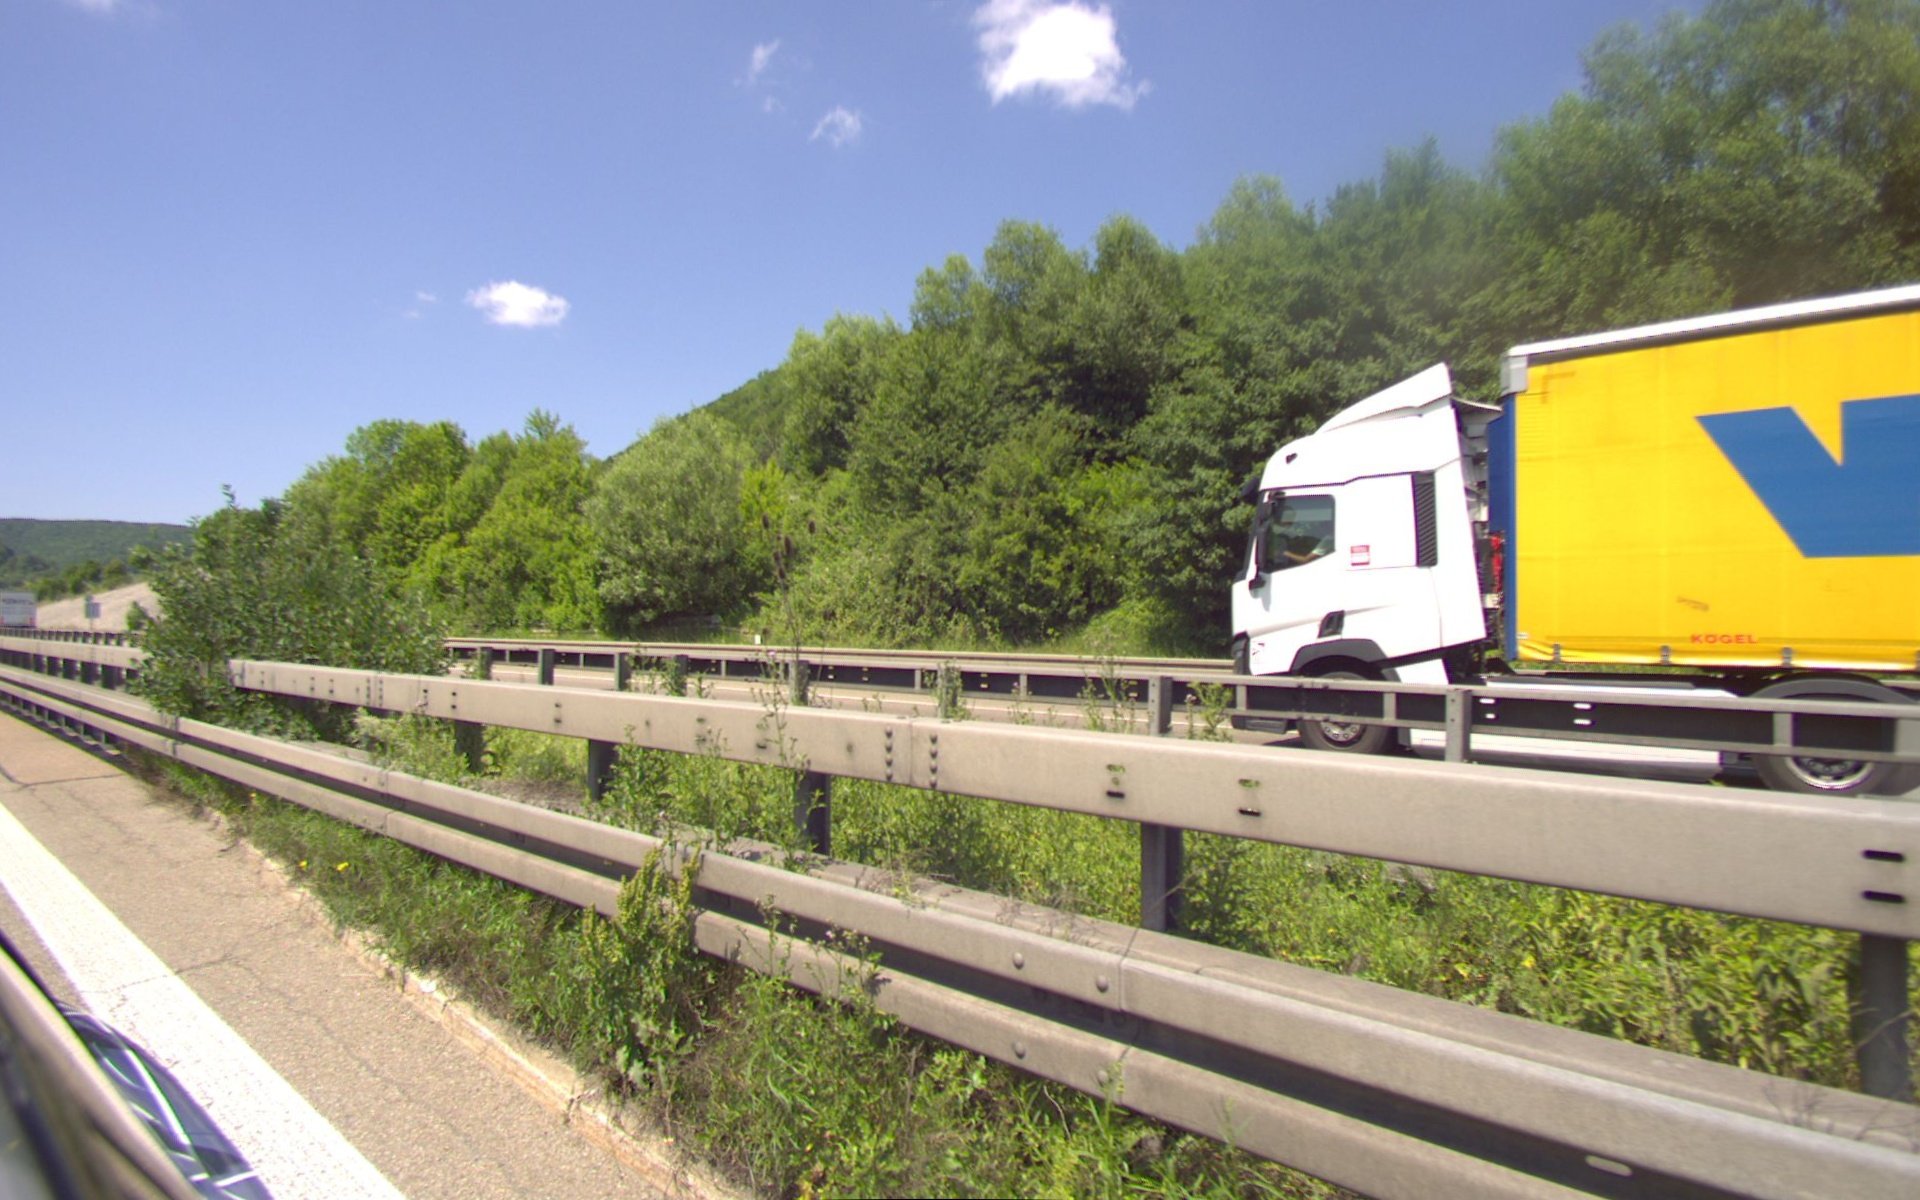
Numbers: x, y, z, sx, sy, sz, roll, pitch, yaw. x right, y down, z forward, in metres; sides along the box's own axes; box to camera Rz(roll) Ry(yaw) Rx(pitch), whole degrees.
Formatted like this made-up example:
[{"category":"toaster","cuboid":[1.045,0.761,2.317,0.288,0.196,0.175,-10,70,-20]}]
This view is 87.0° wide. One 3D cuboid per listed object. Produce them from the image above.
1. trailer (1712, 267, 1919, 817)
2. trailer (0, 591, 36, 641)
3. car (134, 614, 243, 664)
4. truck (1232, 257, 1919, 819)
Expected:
[{"category":"trailer","cuboid":[11.676,-0.504,4.986,12.596,4.035,2.554,-1,-1,42]},{"category":"trailer","cuboid":[-82.055,1.430,86.678,11.256,4.107,2.827,-1,-3,41]},{"category":"car","cuboid":[-23.907,1.182,31.321,4.431,1.431,1.850,-1,-2,42]},{"category":"truck","cuboid":[5.991,-0.407,10.038,5.848,4.121,2.521,-1,-2,42]}]
